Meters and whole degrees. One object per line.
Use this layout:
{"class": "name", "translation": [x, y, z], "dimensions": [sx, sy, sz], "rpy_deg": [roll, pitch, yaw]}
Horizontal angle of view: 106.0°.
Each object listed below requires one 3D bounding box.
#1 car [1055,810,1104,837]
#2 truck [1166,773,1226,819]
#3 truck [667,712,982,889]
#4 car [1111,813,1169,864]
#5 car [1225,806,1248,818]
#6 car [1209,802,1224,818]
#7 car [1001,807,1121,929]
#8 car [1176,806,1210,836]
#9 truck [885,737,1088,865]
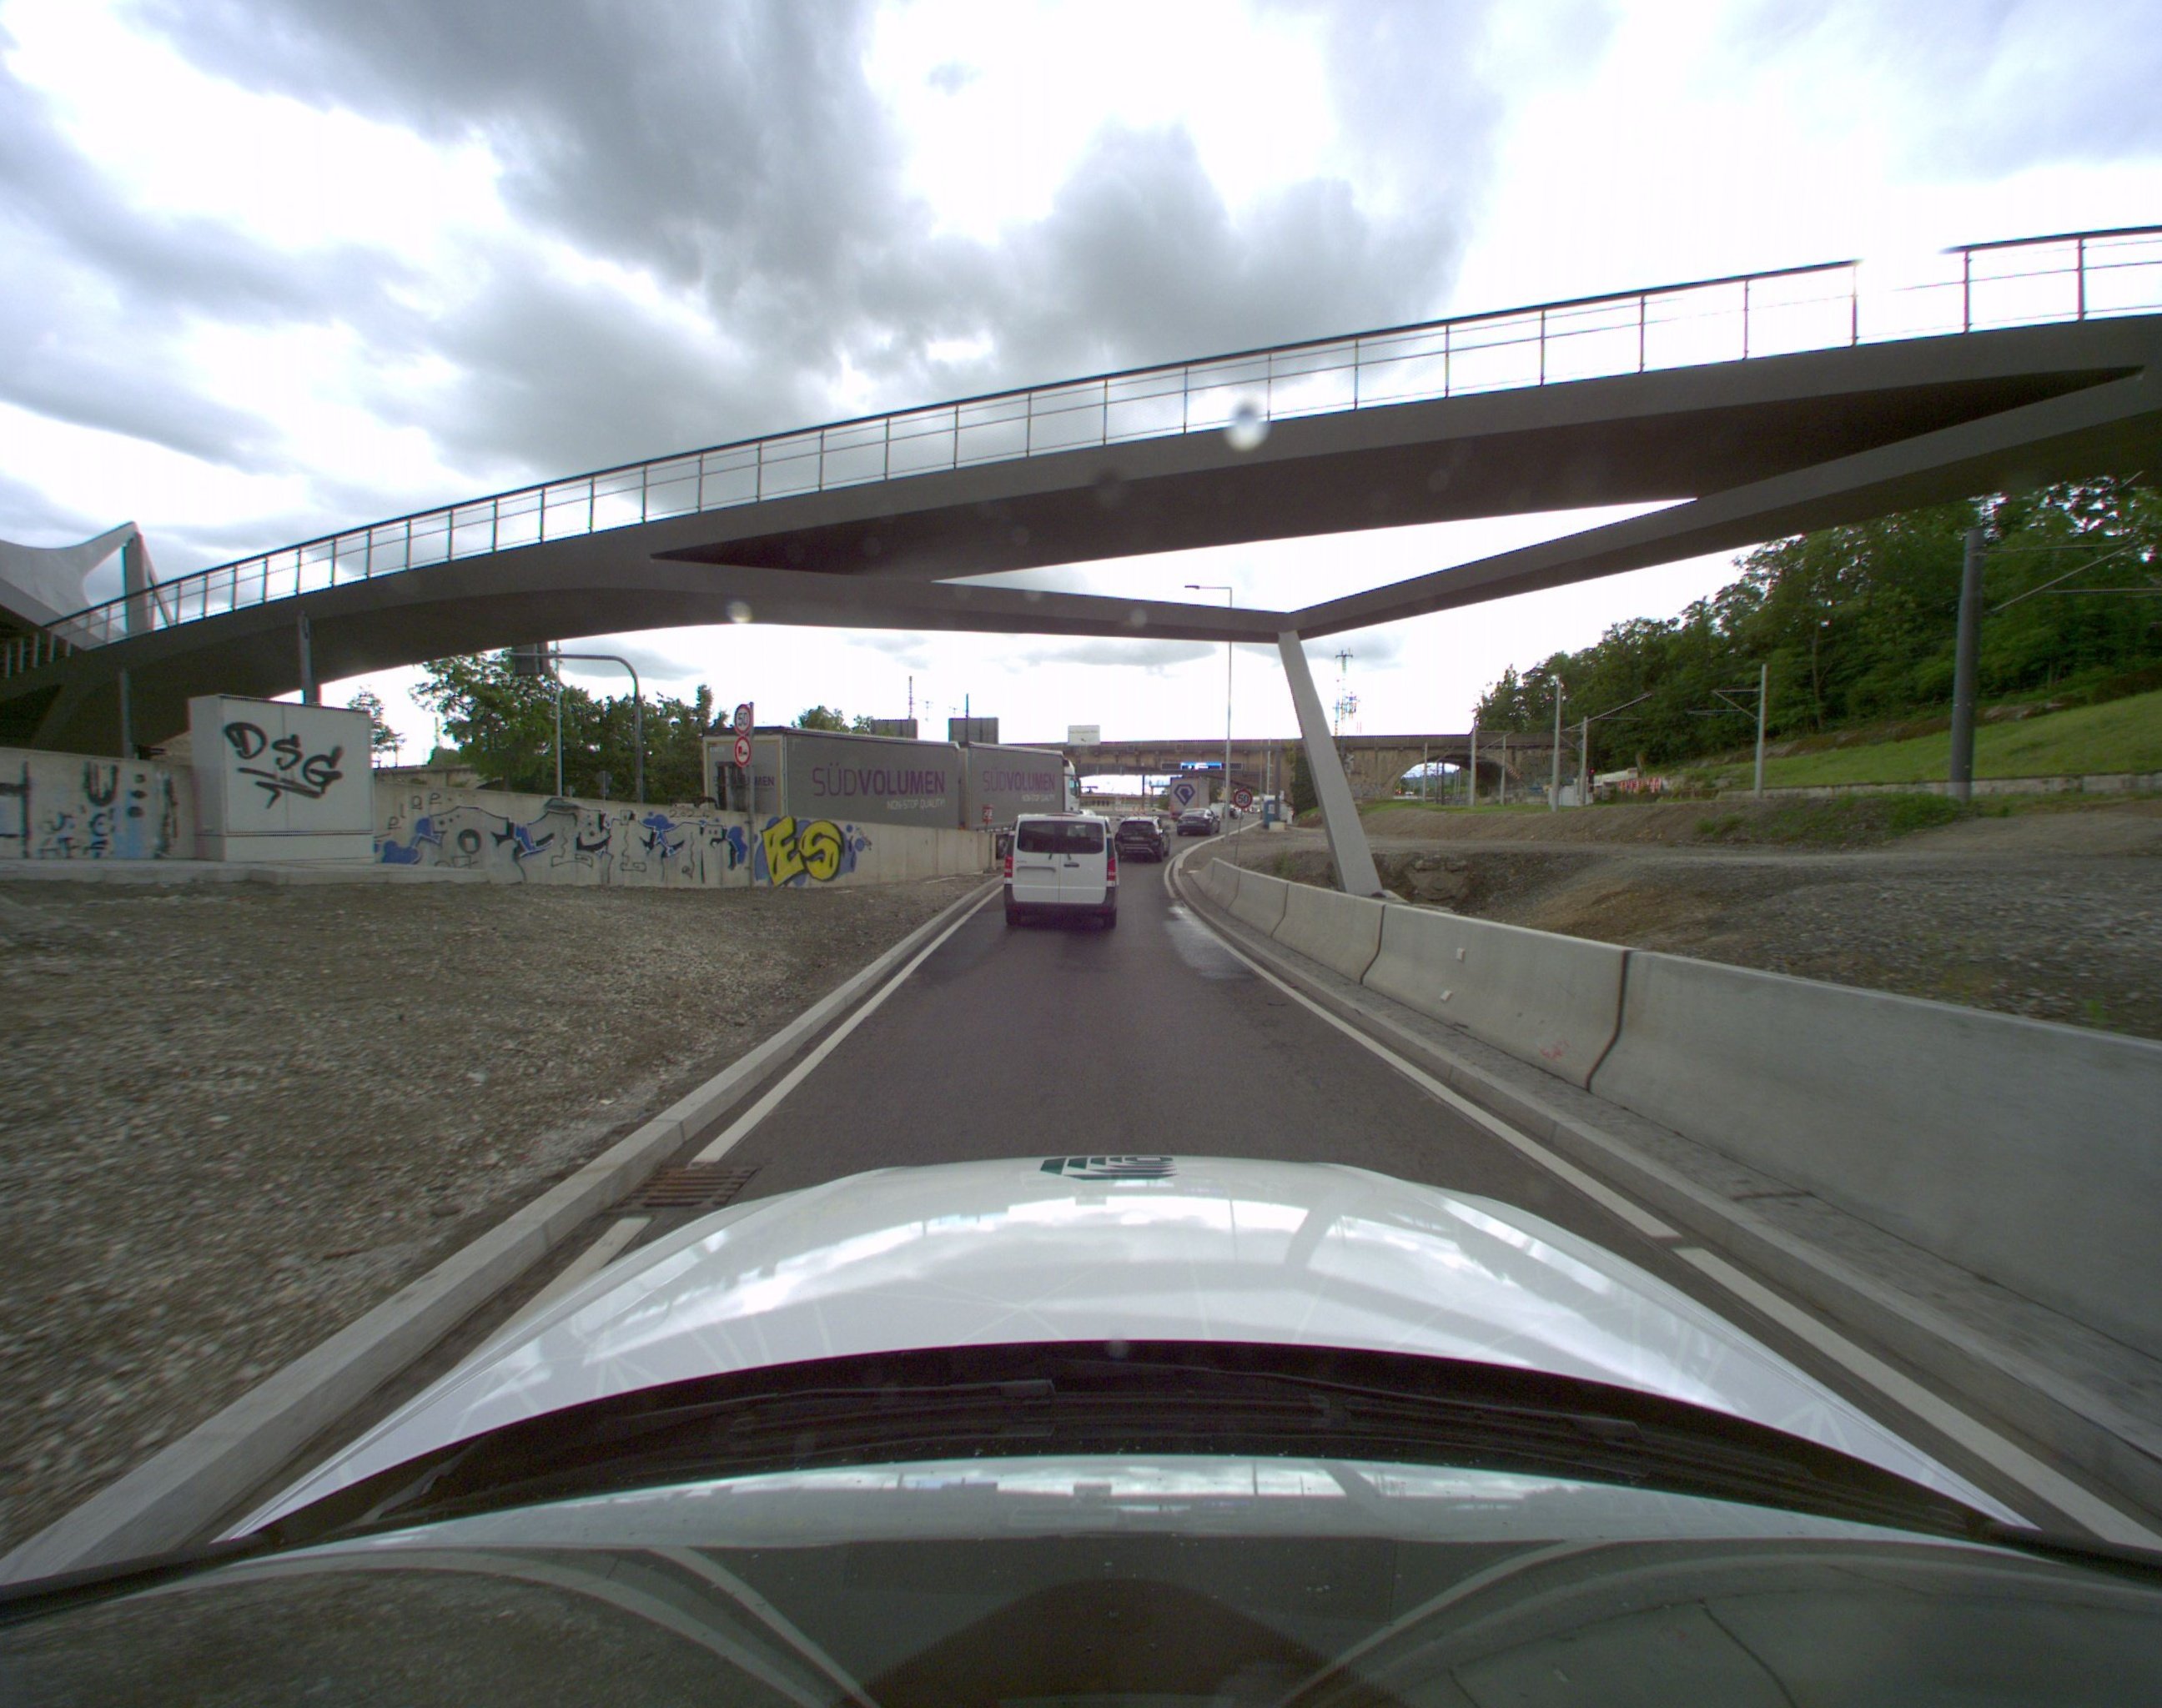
{"class": "car", "translation": [-0.045, -1.921, 51.889], "dimensions": [1.978, 1.551, 4.019], "rpy_deg": [2, 2, 17]}
{"class": "truck", "translation": [11.336, -5.482, 78.121], "dimensions": [3.292, 3.807, 16.668], "rpy_deg": [3, 4, 16]}
{"class": "truck", "translation": [-6.631, -1.606, 23.725], "dimensions": [2.893, 4.015, 10.258], "rpy_deg": [3, 5, 21]}
{"class": "car", "translation": [2.247, -0.628, 30.052], "dimensions": [1.739, 1.624, 3.856], "rpy_deg": [3, 4, 9]}
{"class": "car", "translation": [26.589, -7.207, 139.439], "dimensions": [1.880, 1.808, 4.513], "rpy_deg": [4, 2, 39]}
{"class": "car", "translation": [19.651, -6.366, 118.177], "dimensions": [1.886, 2.115, 4.499], "rpy_deg": [3, 2, 11]}
{"class": "car", "translation": [-0.235, 0.165, 15.079], "dimensions": [1.869, 1.891, 4.756], "rpy_deg": [0, 1, 2]}
{"class": "car", "translation": [6.151, -1.832, 44.571], "dimensions": [1.491, 1.468, 3.412], "rpy_deg": [2, 5, 13]}
{"class": "truck", "translation": [-3.161, -2.178, 32.224], "dimensions": [2.962, 4.174, 11.304], "rpy_deg": [3, 5, 21]}
